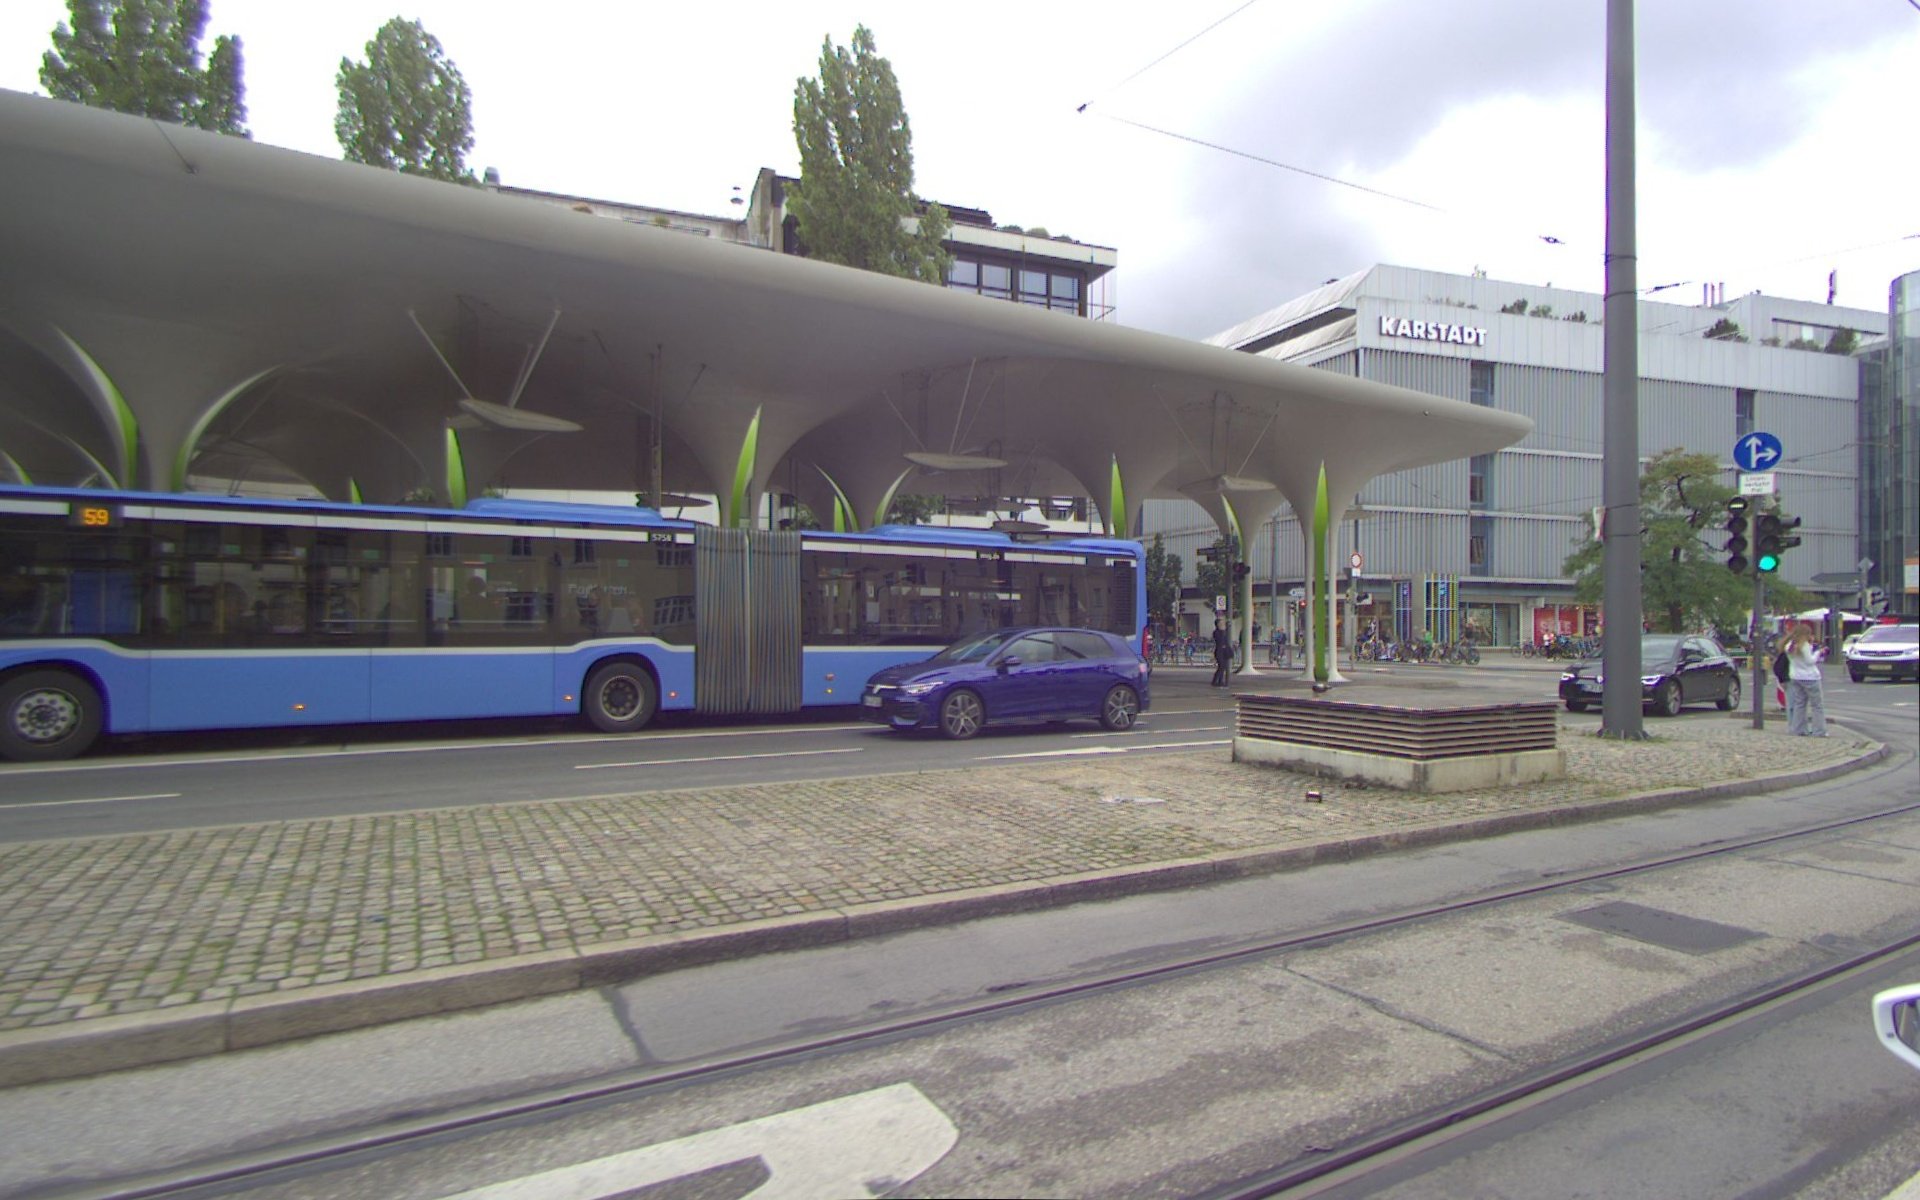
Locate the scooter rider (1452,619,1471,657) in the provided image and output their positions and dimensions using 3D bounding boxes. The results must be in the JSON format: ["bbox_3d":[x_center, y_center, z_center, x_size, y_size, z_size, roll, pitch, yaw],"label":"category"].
[{"bbox_3d":[25.231,1.912,50.543,0.615,1.859,0.659,1,-1,-40],"label":"scooter rider"}]

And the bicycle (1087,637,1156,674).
[{"bbox_3d":[5.163,1.766,32.075,2.133,1.139,0.640,1,-1,-21],"label":"bicycle"}]

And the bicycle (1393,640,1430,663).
[{"bbox_3d":[21.656,2.476,48.152,1.962,1.011,0.524,3,-2,-30],"label":"bicycle"}]

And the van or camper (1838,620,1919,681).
[{"bbox_3d":[31.163,1.630,33.103,5.380,1.850,1.918,1,-1,-32],"label":"van or camper"}]

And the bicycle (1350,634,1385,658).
[{"bbox_3d":[20.486,2.328,50.532,1.871,1.126,0.582,3,-2,-29],"label":"bicycle"}]

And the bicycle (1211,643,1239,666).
[{"bbox_3d":[11.357,2.348,42.992,0.448,0.952,1.723,0,-3,41],"label":"bicycle"}]

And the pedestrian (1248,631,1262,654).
[{"bbox_3d":[20.072,2.880,68.281,0.646,1.573,0.678,1,-1,-21],"label":"pedestrian"}]

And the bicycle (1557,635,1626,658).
[{"bbox_3d":[35.297,2.579,56.248,1.042,1.172,3.493,1,-2,-16],"label":"bicycle"}]

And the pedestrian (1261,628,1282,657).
[{"bbox_3d":[17.864,2.428,57.572,0.838,1.676,0.799,1,-1,-18],"label":"pedestrian"}]

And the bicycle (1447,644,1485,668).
[{"bbox_3d":[22.879,2.537,45.382,1.962,1.011,0.524,3,-2,-30],"label":"bicycle"}]

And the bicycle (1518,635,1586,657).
[{"bbox_3d":[32.576,2.509,55.364,1.042,1.172,3.493,1,-2,-16],"label":"bicycle"}]

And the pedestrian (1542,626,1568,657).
[{"bbox_3d":[31.684,2.217,53.505,0.962,1.602,0.796,1,-1,-19],"label":"pedestrian"}]

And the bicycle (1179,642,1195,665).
[{"bbox_3d":[9.885,2.312,43.732,0.446,0.952,1.731,0,-2,20],"label":"bicycle"}]

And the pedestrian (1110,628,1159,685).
[{"bbox_3d":[4.636,1.485,26.718,1.008,1.472,0.851,1,-1,-16],"label":"pedestrian"}]

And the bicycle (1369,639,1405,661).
[{"bbox_3d":[21.011,2.444,49.411,1.962,1.011,0.524,3,-2,-30],"label":"bicycle"}]

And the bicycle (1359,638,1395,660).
[{"bbox_3d":[20.771,2.431,49.995,1.962,1.011,0.524,3,-2,-30],"label":"bicycle"}]

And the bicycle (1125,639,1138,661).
[{"bbox_3d":[7.628,2.238,44.686,0.446,0.952,1.732,1,-2,14],"label":"bicycle"}]

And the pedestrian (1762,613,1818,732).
[{"bbox_3d":[11.696,1.007,14.171,0.478,1.640,0.557,0,-1,26],"label":"pedestrian"}]

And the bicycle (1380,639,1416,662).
[{"bbox_3d":[21.309,2.457,48.895,1.962,1.011,0.524,3,-2,-30],"label":"bicycle"}]

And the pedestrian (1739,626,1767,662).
[{"bbox_3d":[37.508,2.054,47.526,0.740,1.676,0.770,1,-1,-19],"label":"pedestrian"}]

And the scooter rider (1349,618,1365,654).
[{"bbox_3d":[20.545,1.852,51.960,0.600,1.863,0.553,-1,-1,40],"label":"scooter rider"}]

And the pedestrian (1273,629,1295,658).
[{"bbox_3d":[18.327,2.449,56.769,0.934,1.609,0.739,1,-1,-18],"label":"pedestrian"}]

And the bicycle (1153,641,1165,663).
[{"bbox_3d":[8.780,2.275,44.285,0.446,0.952,1.732,1,-2,12],"label":"bicycle"}]

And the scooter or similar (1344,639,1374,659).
[{"bbox_3d":[20.598,2.535,51.900,1.383,0.995,0.412,-1,-2,40],"label":"scooter or similar"}]

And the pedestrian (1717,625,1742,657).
[{"bbox_3d":[37.911,2.023,49.483,0.736,1.575,0.773,0,-1,13],"label":"pedestrian"}]

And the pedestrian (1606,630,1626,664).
[{"bbox_3d":[33.411,2.394,51.161,0.774,1.710,0.862,0,-1,26],"label":"pedestrian"}]

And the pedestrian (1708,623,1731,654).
[{"bbox_3d":[37.066,1.867,49.005,0.737,1.513,0.772,0,-1,26],"label":"pedestrian"}]

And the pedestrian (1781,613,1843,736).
[{"bbox_3d":[11.658,1.006,13.762,0.454,1.640,0.522,0,-1,14],"label":"pedestrian"}]

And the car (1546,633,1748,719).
[{"bbox_3d":[12.989,1.350,18.936,3.993,1.435,1.831,1,-1,-34],"label":"car"}]

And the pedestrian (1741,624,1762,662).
[{"bbox_3d":[38.235,2.065,48.535,0.739,1.796,0.770,0,-1,37],"label":"pedestrian"}]

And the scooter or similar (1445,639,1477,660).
[{"bbox_3d":[25.214,2.483,50.558,0.411,0.995,1.388,1,-2,-40],"label":"scooter or similar"}]

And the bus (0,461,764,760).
[{"bbox_3d":[-7.932,0.219,12.898,10.396,3.047,2.647,1,-3,-31],"label":"bus"}]

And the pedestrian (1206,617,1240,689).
[{"bbox_3d":[6.509,1.307,24.915,0.606,1.743,0.546,1,-1,-22],"label":"pedestrian"}]

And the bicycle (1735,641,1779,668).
[{"bbox_3d":[35.808,2.436,45.157,0.368,1.126,1.569,1,-1,-25],"label":"bicycle"}]

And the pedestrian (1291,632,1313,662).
[{"bbox_3d":[18.893,2.593,55.436,0.844,1.664,0.786,1,-1,-18],"label":"pedestrian"}]

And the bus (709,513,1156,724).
[{"bbox_3d":[-0.325,0.394,17.472,7.424,3.047,2.649,1,-3,-30],"label":"bus"}]

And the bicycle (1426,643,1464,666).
[{"bbox_3d":[22.443,2.514,46.467,1.962,1.011,0.524,3,-2,-30],"label":"bicycle"}]

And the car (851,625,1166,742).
[{"bbox_3d":[0.736,1.079,13.943,4.186,1.414,1.669,1,-3,-32],"label":"car"}]

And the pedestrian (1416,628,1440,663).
[{"bbox_3d":[22.544,2.166,48.385,0.804,1.640,0.831,1,-1,-44],"label":"pedestrian"}]

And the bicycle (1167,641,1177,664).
[{"bbox_3d":[9.269,2.292,43.909,0.446,0.952,1.732,1,-2,12],"label":"bicycle"}]

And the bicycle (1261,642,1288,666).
[{"bbox_3d":[13.117,2.250,41.898,0.448,0.952,1.723,0,-3,39],"label":"bicycle"}]

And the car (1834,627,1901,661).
[{"bbox_3d":[44.126,2.116,48.798,4.382,1.556,1.975,1,-2,-42],"label":"car"}]

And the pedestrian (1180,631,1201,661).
[{"bbox_3d":[12.998,2.608,56.623,0.838,1.676,0.799,1,-1,-18],"label":"pedestrian"}]

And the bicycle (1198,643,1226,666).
[{"bbox_3d":[10.804,2.331,43.029,0.448,0.952,1.724,0,-3,39],"label":"bicycle"}]

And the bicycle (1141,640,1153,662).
[{"bbox_3d":[8.302,2.259,44.528,0.446,0.952,1.732,1,-2,12],"label":"bicycle"}]

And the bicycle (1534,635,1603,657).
[{"bbox_3d":[33.734,2.539,55.742,1.042,1.172,3.493,1,-2,-16],"label":"bicycle"}]

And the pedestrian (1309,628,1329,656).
[{"bbox_3d":[21.809,2.534,61.025,0.774,1.710,0.784,1,-1,-25],"label":"pedestrian"}]

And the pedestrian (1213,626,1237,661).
[{"bbox_3d":[12.900,2.108,48.906,0.779,1.664,0.853,1,-1,-25],"label":"pedestrian"}]

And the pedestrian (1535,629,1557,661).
[{"bbox_3d":[29.495,2.241,50.573,0.708,1.595,0.638,1,-1,-13],"label":"pedestrian"}]

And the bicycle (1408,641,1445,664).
[{"bbox_3d":[22.029,2.493,47.410,1.962,1.011,0.524,3,-2,-30],"label":"bicycle"}]

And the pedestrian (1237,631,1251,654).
[{"bbox_3d":[19.162,2.859,67.862,0.646,1.573,0.678,1,-1,-21],"label":"pedestrian"}]
